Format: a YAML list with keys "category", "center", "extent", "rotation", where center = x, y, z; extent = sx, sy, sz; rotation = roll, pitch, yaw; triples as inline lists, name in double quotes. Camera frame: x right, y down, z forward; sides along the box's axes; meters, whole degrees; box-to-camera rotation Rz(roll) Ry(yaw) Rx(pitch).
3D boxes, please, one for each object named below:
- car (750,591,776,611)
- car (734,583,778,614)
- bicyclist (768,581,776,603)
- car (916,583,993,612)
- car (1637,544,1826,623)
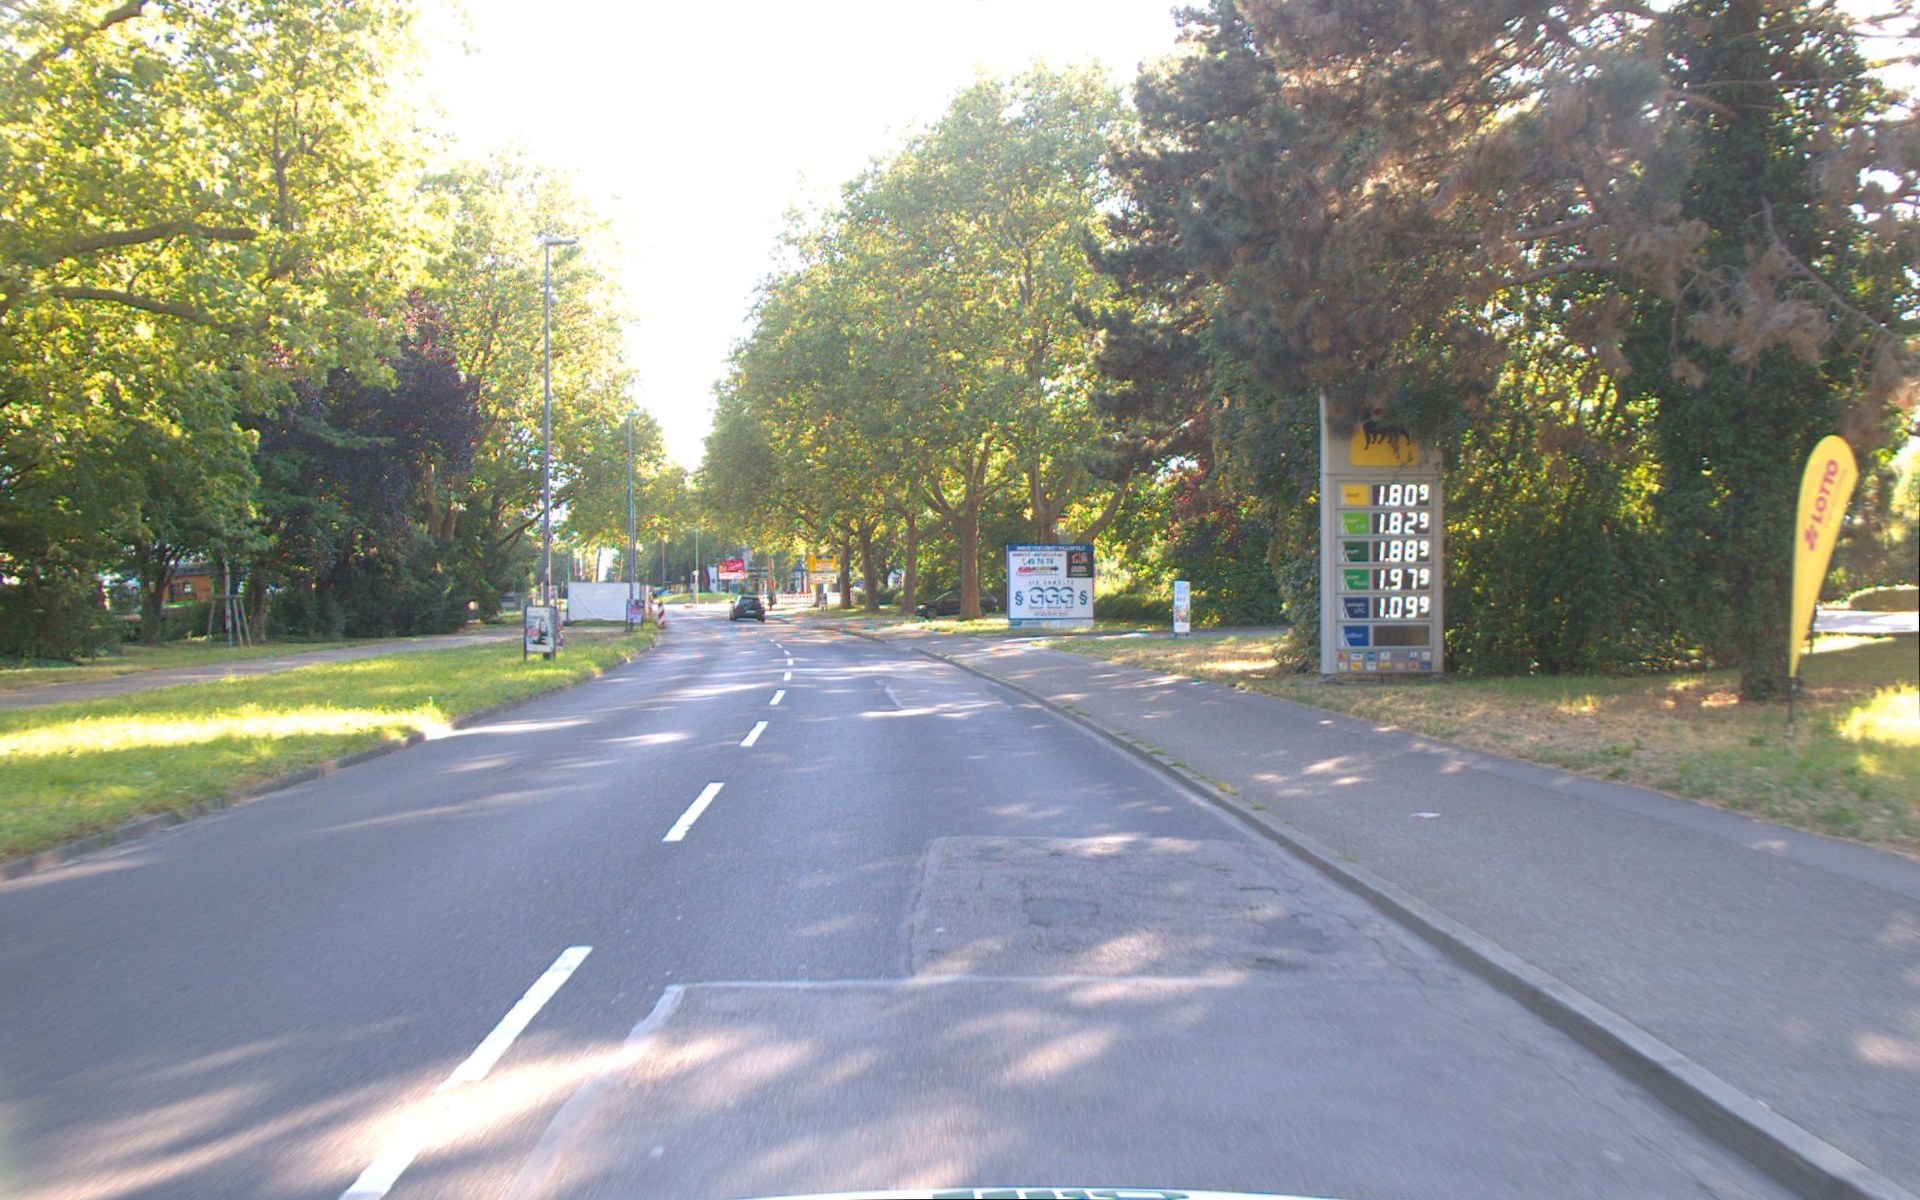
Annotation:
- category: "car"
  center: [-21.345, 0.090, 179.255]
  extent: [1.951, 2.049, 4.003]
  rotation: [-1, 1, 5]
- category: "car"
  center: [-11.323, -0.082, 92.022]
  extent: [1.801, 1.633, 3.864]
  rotation: [-1, 0, 3]
- category: "bicyclist"
  center: [-15.227, -0.644, 133.942]
  extent: [0.639, 1.735, 0.869]
  rotation: [1, 0, -11]
- category: "car"
  center: [-0.323, -0.132, 89.149]
  extent: [3.912, 1.468, 1.757]
  rotation: [-2, 0, -8]
- category: "car"
  center: [15.181, -0.335, 32.794]
  extent: [1.804, 1.445, 3.999]
  rotation: [-1, 1, -1]
